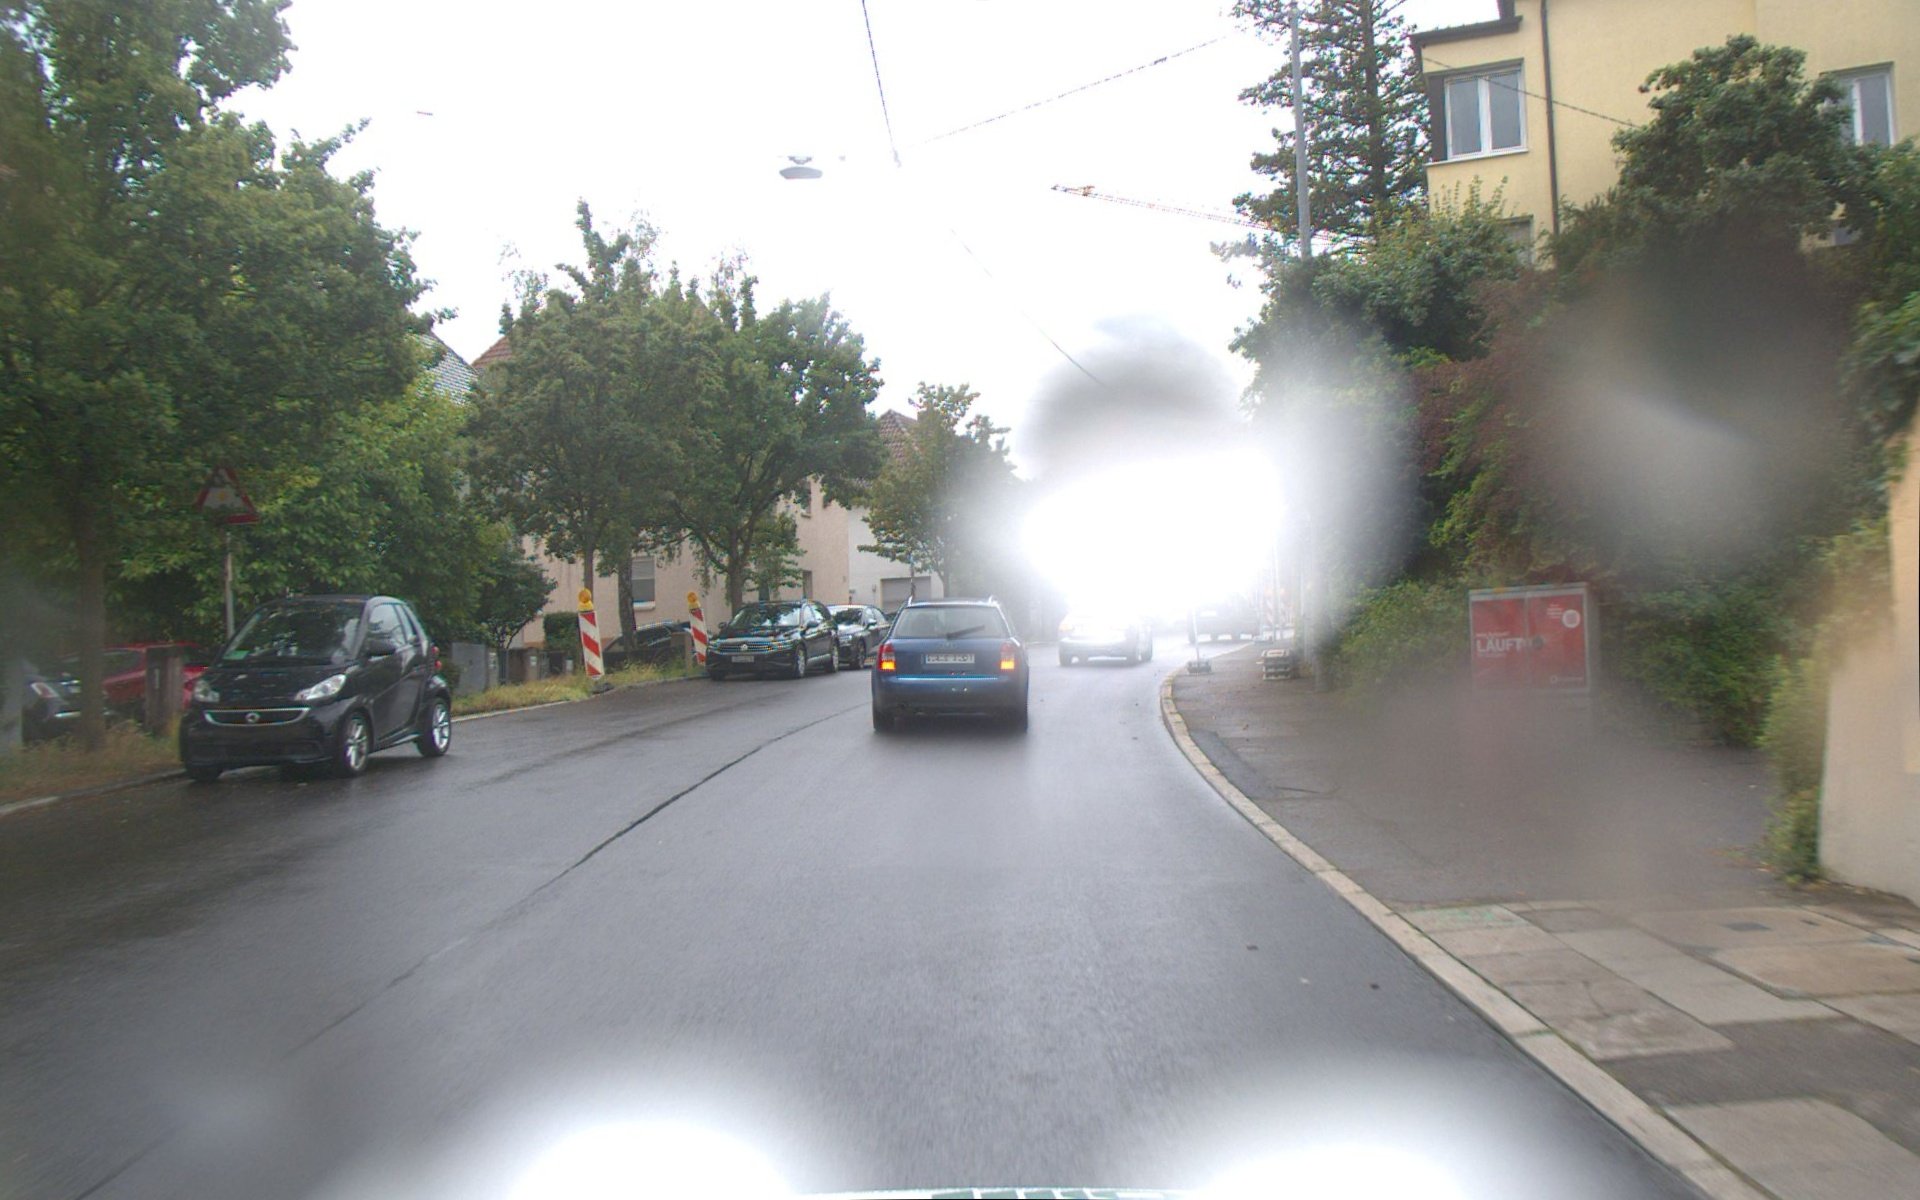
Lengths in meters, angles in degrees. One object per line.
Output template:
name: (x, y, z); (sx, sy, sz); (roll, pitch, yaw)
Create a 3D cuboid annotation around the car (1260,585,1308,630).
car: (12.894, 0.322, 65.628); (1.683, 1.689, 3.717); (1, -1, 14)

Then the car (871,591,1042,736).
car: (0.033, 0.641, 19.058); (1.740, 1.464, 4.001); (1, 0, 2)

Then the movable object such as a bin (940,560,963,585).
movable object such as a bin: (-0.327, -1.043, 63.508); (0.656, 0.937, 0.592); (-1, 0, 24)

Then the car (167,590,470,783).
car: (-5.741, 0.719, 15.154); (1.486, 1.561, 3.037); (-1, 0, 2)

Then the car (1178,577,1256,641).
car: (8.254, 0.293, 52.879); (1.694, 1.928, 4.056); (-1, -1, 19)

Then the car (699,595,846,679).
car: (-3.575, 0.688, 32.350); (1.695, 1.510, 4.534); (-1, 0, 9)

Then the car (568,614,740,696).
car: (-8.352, 1.492, 45.131); (4.157, 1.529, 1.913); (-11, -4, 24)

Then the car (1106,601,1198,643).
car: (9.697, 1.116, 83.602); (4.114, 1.632, 1.949); (-7, -3, 25)

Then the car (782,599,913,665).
car: (-2.505, 0.710, 38.020); (1.670, 1.407, 4.533); (-1, 0, 14)

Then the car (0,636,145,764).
car: (-12.714, 1.436, 20.905); (3.838, 1.383, 1.829); (-9, -2, 6)

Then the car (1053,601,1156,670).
car: (3.365, 0.771, 37.914); (1.868, 1.412, 4.354); (-2, 0, 11)

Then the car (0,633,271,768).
car: (-12.420, 1.486, 24.161); (3.838, 1.418, 1.780); (-9, -2, 6)
